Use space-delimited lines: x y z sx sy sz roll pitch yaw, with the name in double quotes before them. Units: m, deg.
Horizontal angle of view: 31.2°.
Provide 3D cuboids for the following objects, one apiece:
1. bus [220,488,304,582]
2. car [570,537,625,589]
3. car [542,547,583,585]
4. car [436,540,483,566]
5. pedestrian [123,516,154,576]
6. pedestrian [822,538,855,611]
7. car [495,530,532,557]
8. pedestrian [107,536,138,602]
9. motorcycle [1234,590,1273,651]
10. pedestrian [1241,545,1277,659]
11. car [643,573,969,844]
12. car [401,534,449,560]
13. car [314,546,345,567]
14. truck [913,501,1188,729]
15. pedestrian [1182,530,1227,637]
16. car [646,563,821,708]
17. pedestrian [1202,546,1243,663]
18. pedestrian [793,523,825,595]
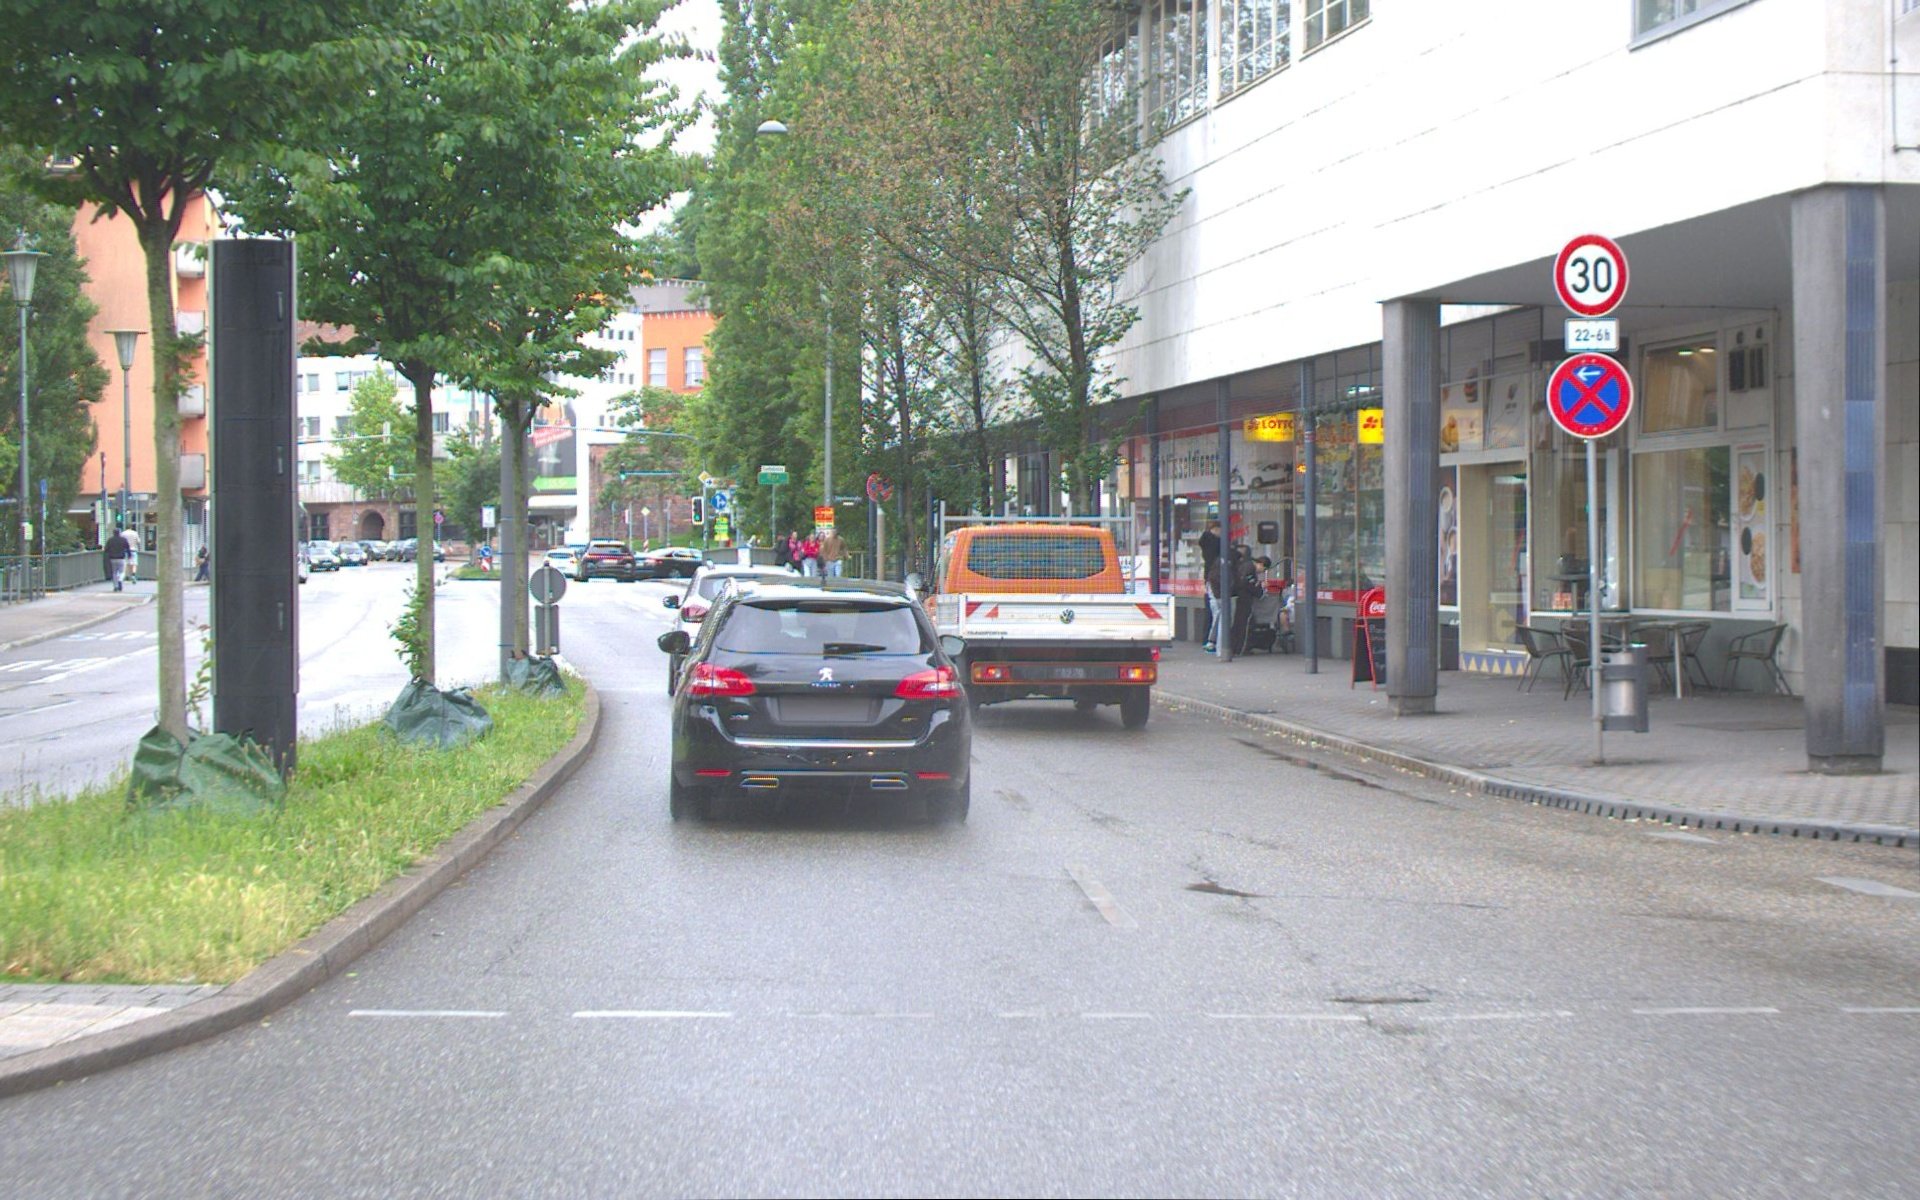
"bus" -24.812 -2.397 122.545 2.743 3.065 12.241 0 2 -11
"car" -12.442 -1.254 117.880 1.644 1.559 3.600 3 -2 -9
"car" -18.246 -1.550 157.753 1.644 1.559 3.600 3 -2 -9
"car" -33.203 -3.101 227.930 1.644 1.559 3.600 4 -2 -33
"pedestrian" -25.064 -1.647 104.867 0.797 1.788 0.812 1 0 -6
"pedestrian" -3.014 -0.637 85.318 0.698 1.795 0.607 -1 1 -9
"car" -28.239 -3.573 217.448 1.993 1.678 4.001 0 1 -12
"pedestrian" -23.092 -0.858 94.805 0.698 1.788 0.959 1 0 -6
"motorcycle" 4.067 0.279 47.652 0.324 0.801 0.920 -1 2 -9
"pedestrian" 4.129 0.027 47.460 0.387 1.561 0.430 -1 1 -11
"car" -0.893 0.615 21.416 1.795 1.478 4.000 2 0 -1
"car" -34.826 -3.430 223.811 1.644 1.559 3.600 4 -2 -33
"car" -38.805 -2.681 211.677 1.791 1.320 4.408 0 1 -9
"truck" 0.790 0.137 33.460 2.121 2.018 4.716 1 0 -5
"pedestrian" 3.582 -0.246 50.372 0.430 1.561 0.508 0 1 37
"car" -2.479 0.341 37.265 1.794 1.478 4.001 0 1 -4
"pedestrian" 3.559 0.056 46.655 0.429 1.561 0.510 -1 1 -10
"pedestrian" -3.754 -1.023 85.373 0.653 1.761 0.923 -1 1 -9
